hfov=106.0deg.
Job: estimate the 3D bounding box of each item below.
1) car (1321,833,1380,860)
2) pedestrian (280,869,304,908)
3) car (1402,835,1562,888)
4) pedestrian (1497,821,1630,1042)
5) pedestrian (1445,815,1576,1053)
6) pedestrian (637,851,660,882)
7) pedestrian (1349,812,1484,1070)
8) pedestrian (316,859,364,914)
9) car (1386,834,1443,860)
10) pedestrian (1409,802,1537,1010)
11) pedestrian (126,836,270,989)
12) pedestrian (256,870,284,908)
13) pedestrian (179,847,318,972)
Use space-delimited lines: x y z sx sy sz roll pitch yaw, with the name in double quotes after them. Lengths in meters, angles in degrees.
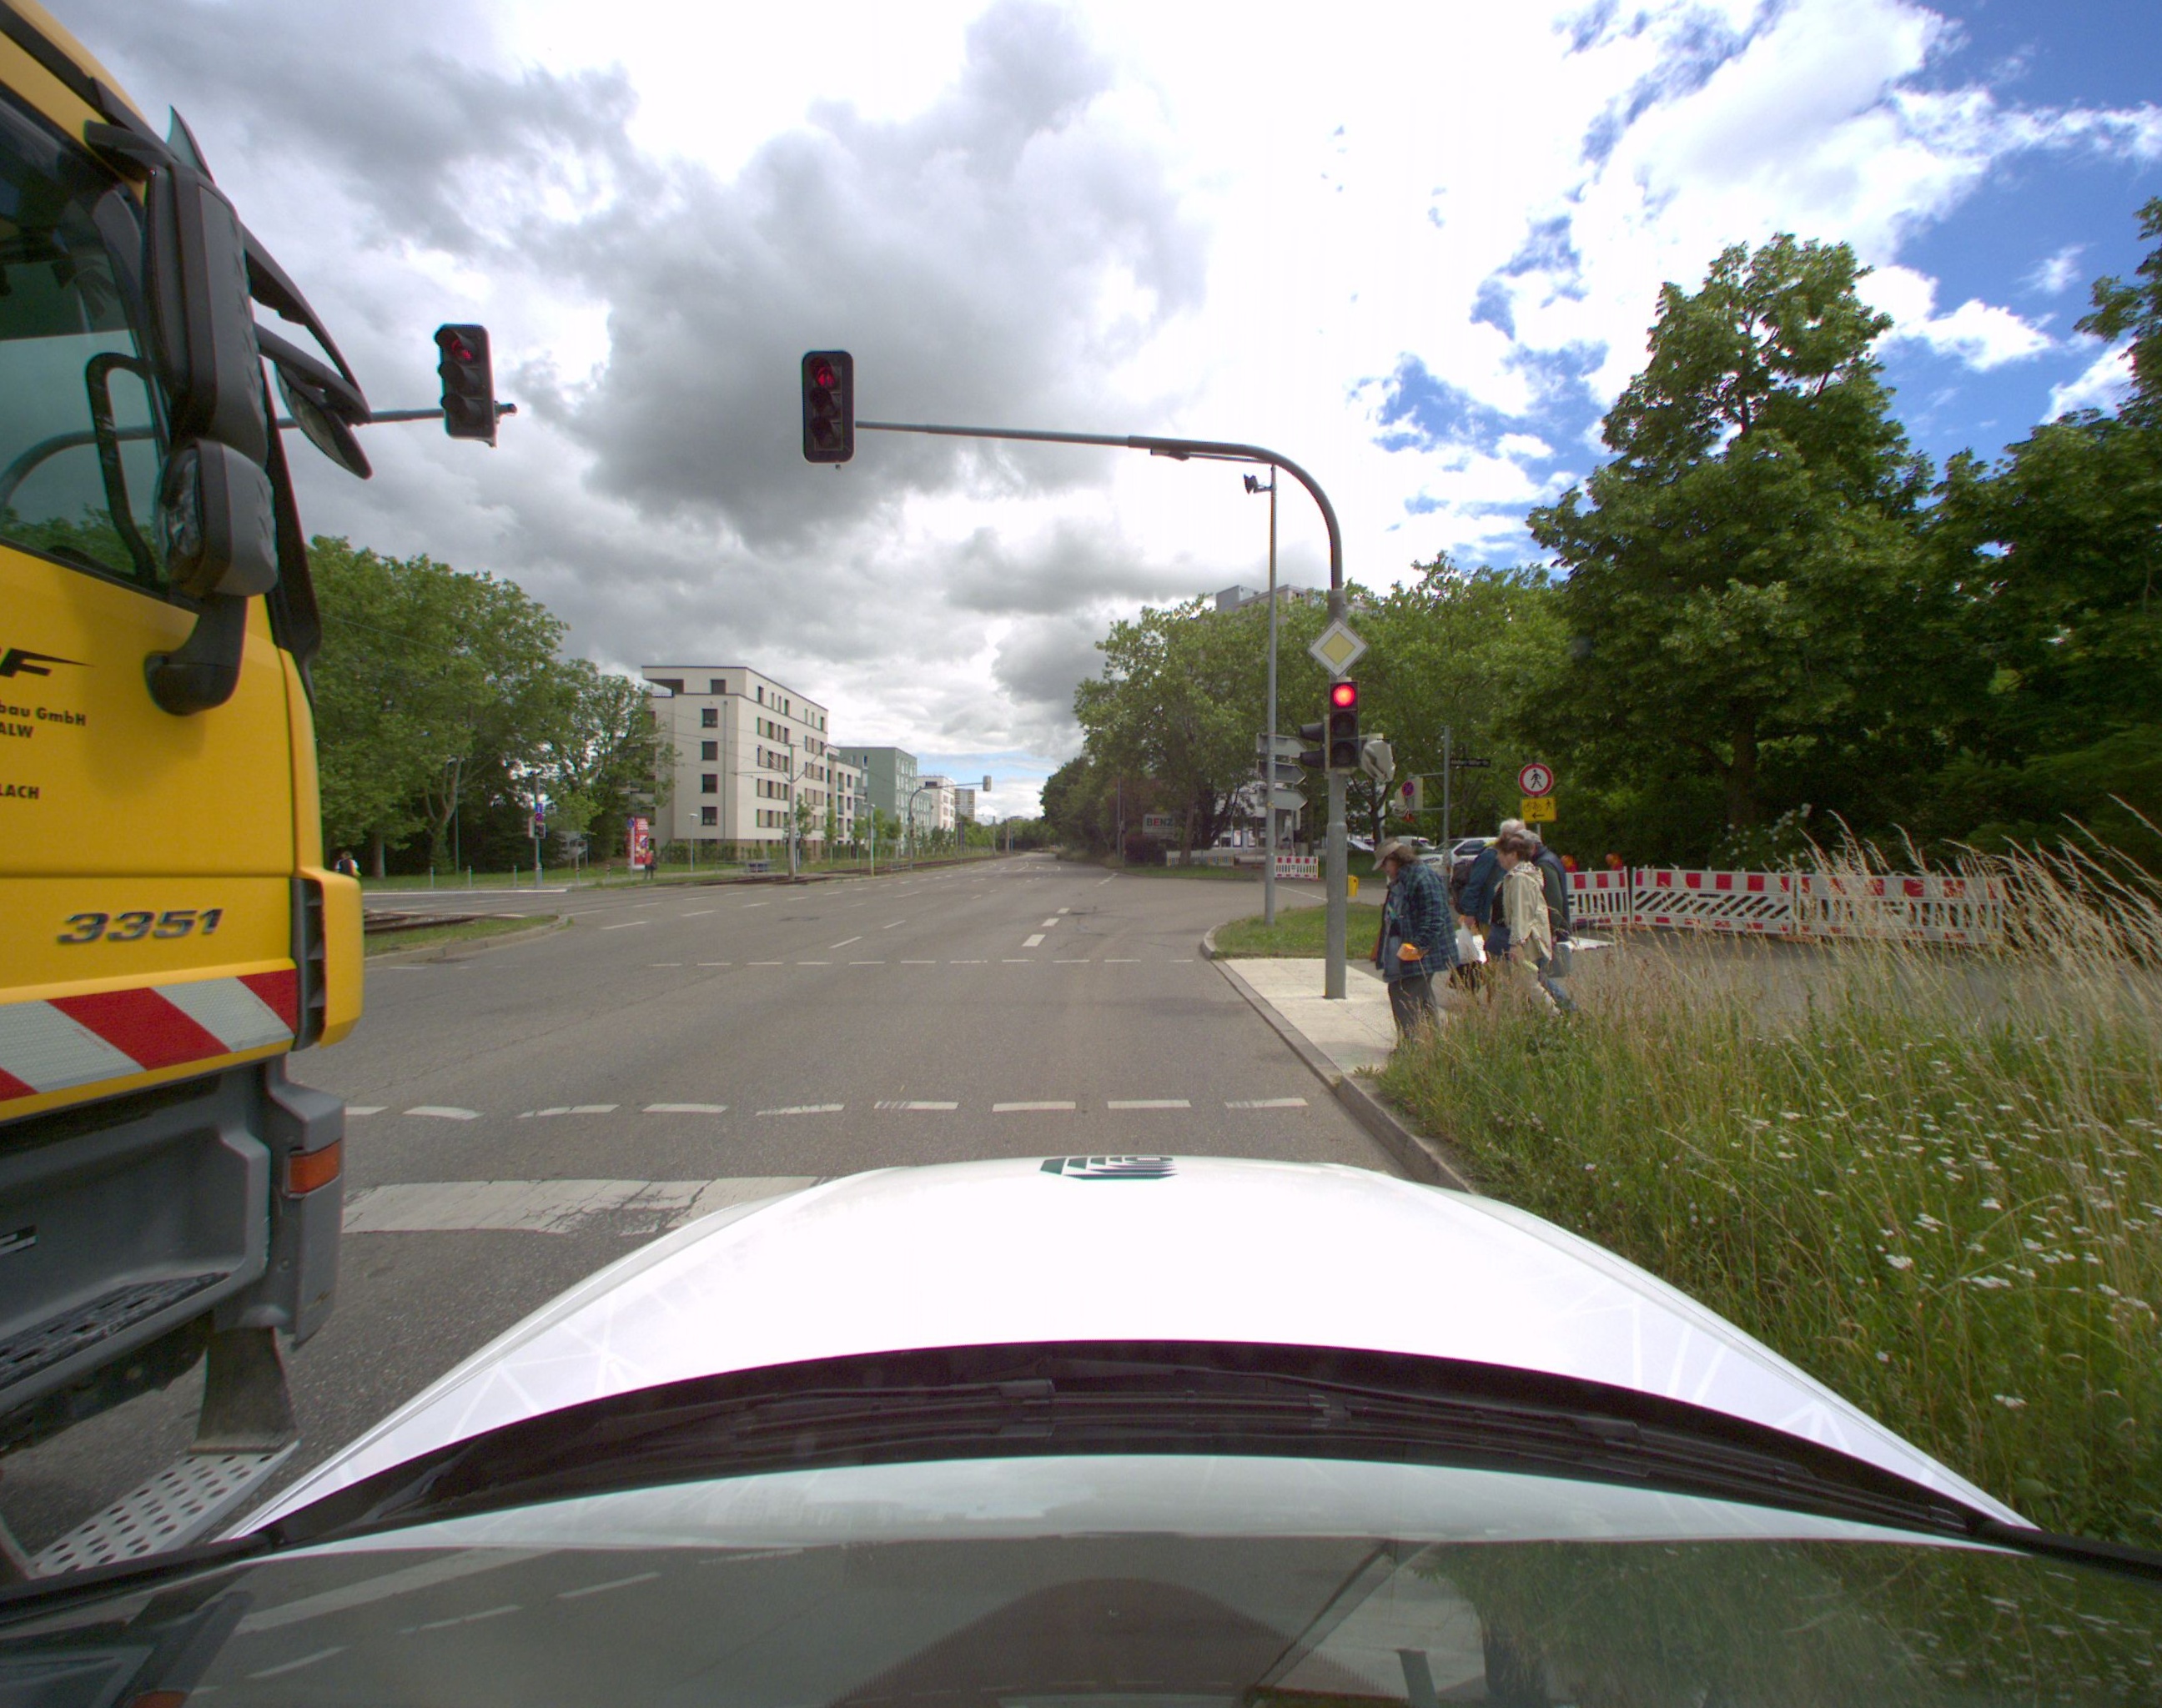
20.564 -0.549 62.251 2.006 2.013 3.962 -1 0 -29 "car"
-23.803 1.035 24.581 0.443 1.128 0.370 0 -1 -29 "pedestrian"
14.912 0.251 30.456 5.063 1.874 1.947 -1 0 -2 "car"
3.838 0.567 6.543 0.860 1.634 0.770 0 0 28 "pedestrian"
3.208 0.548 6.109 0.814 1.640 0.738 0 0 28 "pedestrian"
-21.898 0.631 41.240 0.827 1.516 0.636 -1 0 1 "pedestrian"
2.337 0.562 5.753 0.815 1.671 0.737 -1 0 19 "pedestrian"
-22.942 0.996 25.235 1.075 1.648 0.700 -1 0 -41 "pedestrian"
27.310 -0.567 66.865 2.006 2.013 3.962 -1 0 -29 "car"
3.669 0.440 7.594 1.000 1.774 0.954 -1 0 29 "pedestrian"
-10.471 0.664 9.691 0.779 1.742 0.829 -1 0 2 "pedestrian"
-24.353 1.041 24.464 0.506 1.124 0.418 0 0 -29 "pedestrian"
-11.075 0.709 10.869 0.889 1.596 0.908 -1 0 2 "pedestrian"
